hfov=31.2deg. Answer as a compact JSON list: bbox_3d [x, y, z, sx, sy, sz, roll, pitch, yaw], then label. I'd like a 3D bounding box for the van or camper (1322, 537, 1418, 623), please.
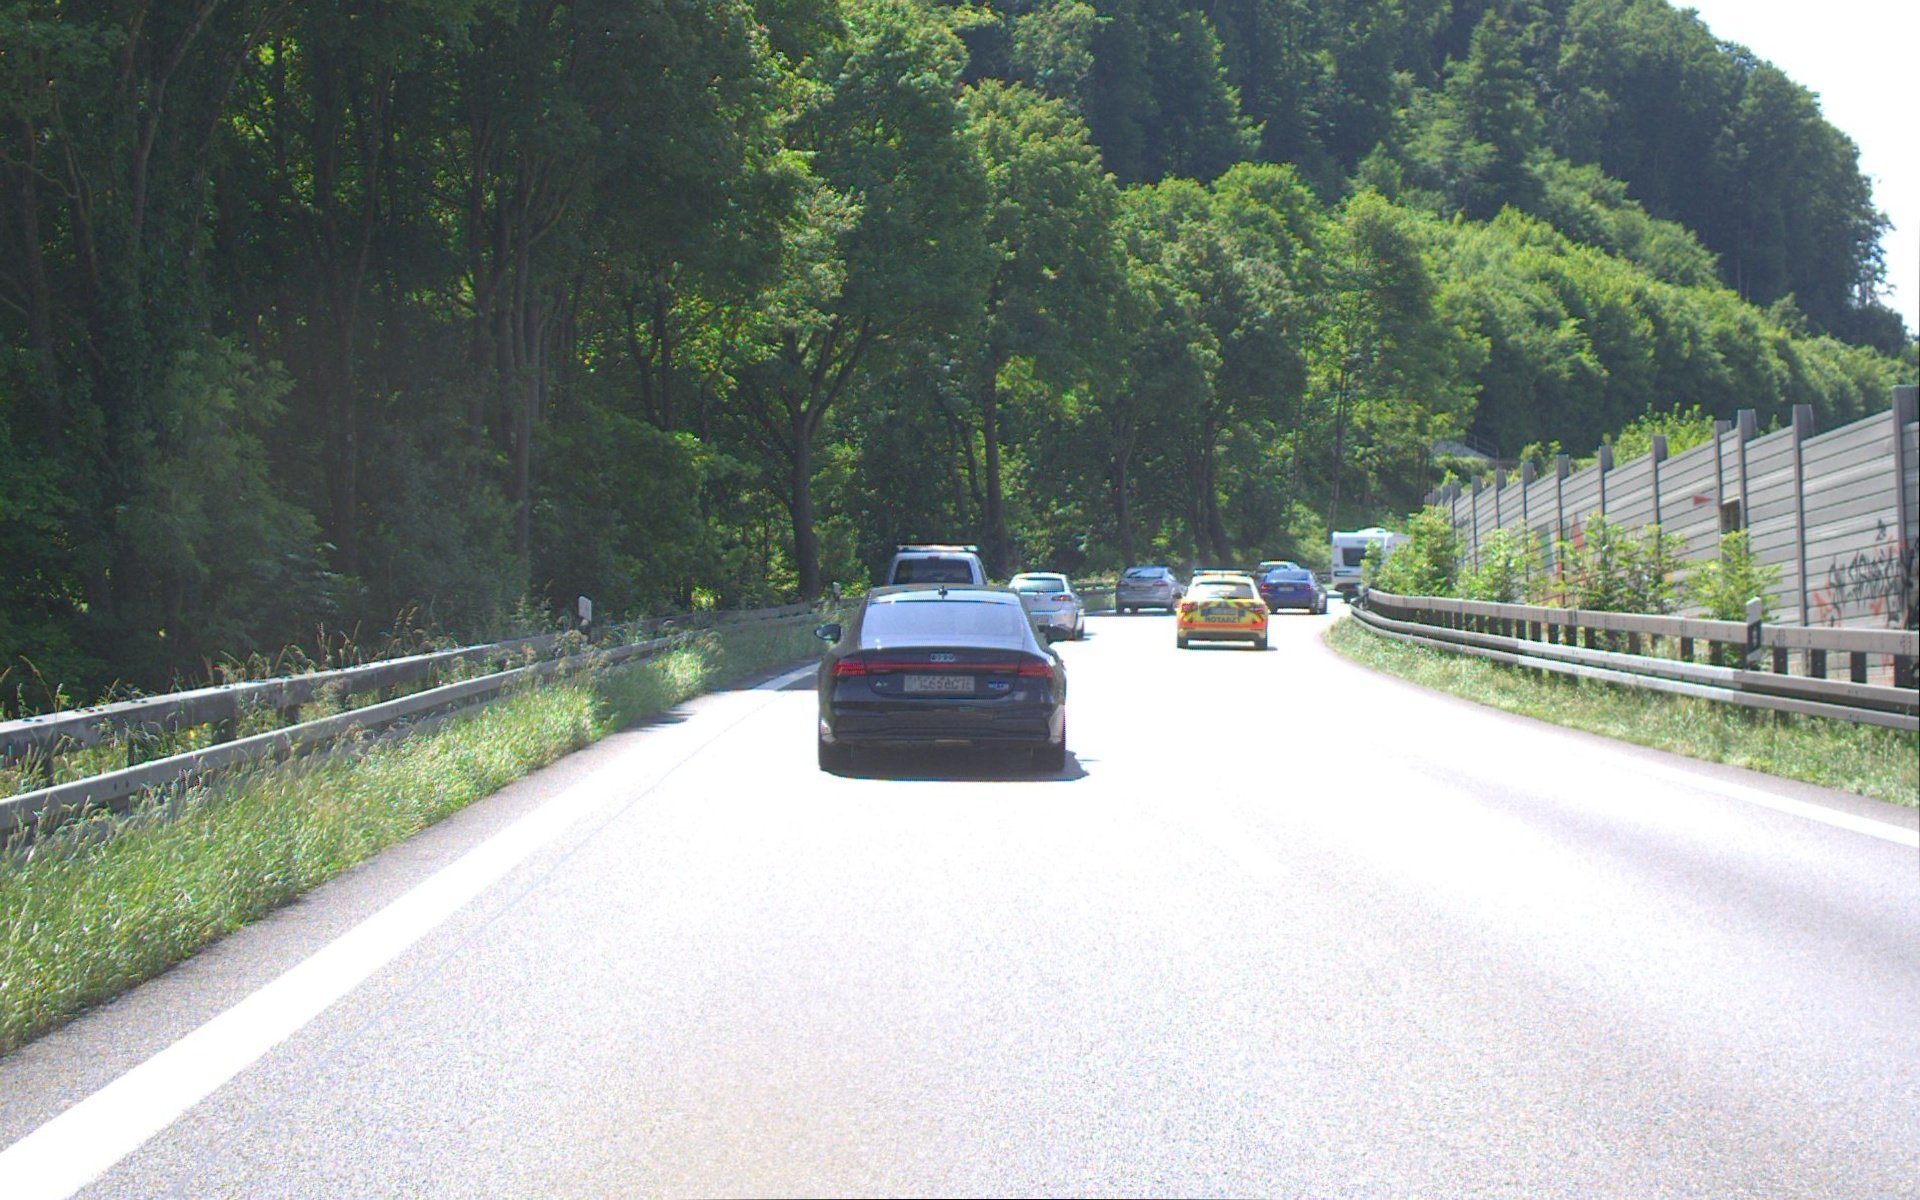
[{"bbox_3d":[15.499,-0.774,129.660,2.457,2.908,6.122,-6,0,15],"label":"van or camper"}]

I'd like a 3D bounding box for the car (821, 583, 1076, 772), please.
[{"bbox_3d":[-0.116,0.563,27.100,1.837,1.345,4.000,-1,0,-1],"label":"car"}]

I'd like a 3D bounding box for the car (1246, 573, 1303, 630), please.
[{"bbox_3d":[12.254,0.033,133.743,1.994,2.007,3.999,-6,0,5],"label":"car"}]

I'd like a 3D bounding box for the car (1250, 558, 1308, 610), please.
[{"bbox_3d":[10.106,-0.496,108.943,1.773,1.631,3.999,0,0,5],"label":"car"}]

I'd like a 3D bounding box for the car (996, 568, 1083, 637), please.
[{"bbox_3d":[1.706,0.052,74.630,1.747,1.426,4.000,0,0,0],"label":"car"}]

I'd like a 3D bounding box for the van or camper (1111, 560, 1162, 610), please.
[{"bbox_3d":[5.534,-0.469,107.974,1.558,1.529,3.505,0,0,2],"label":"van or camper"}]

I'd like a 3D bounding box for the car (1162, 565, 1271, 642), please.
[{"bbox_3d":[5.102,0.073,68.777,1.863,1.483,4.000,0,0,0],"label":"car"}]

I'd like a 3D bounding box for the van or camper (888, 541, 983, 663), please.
[{"bbox_3d":[-0.393,0.024,53.198,1.391,1.809,4.000,0,0,-1],"label":"van or camper"}]
